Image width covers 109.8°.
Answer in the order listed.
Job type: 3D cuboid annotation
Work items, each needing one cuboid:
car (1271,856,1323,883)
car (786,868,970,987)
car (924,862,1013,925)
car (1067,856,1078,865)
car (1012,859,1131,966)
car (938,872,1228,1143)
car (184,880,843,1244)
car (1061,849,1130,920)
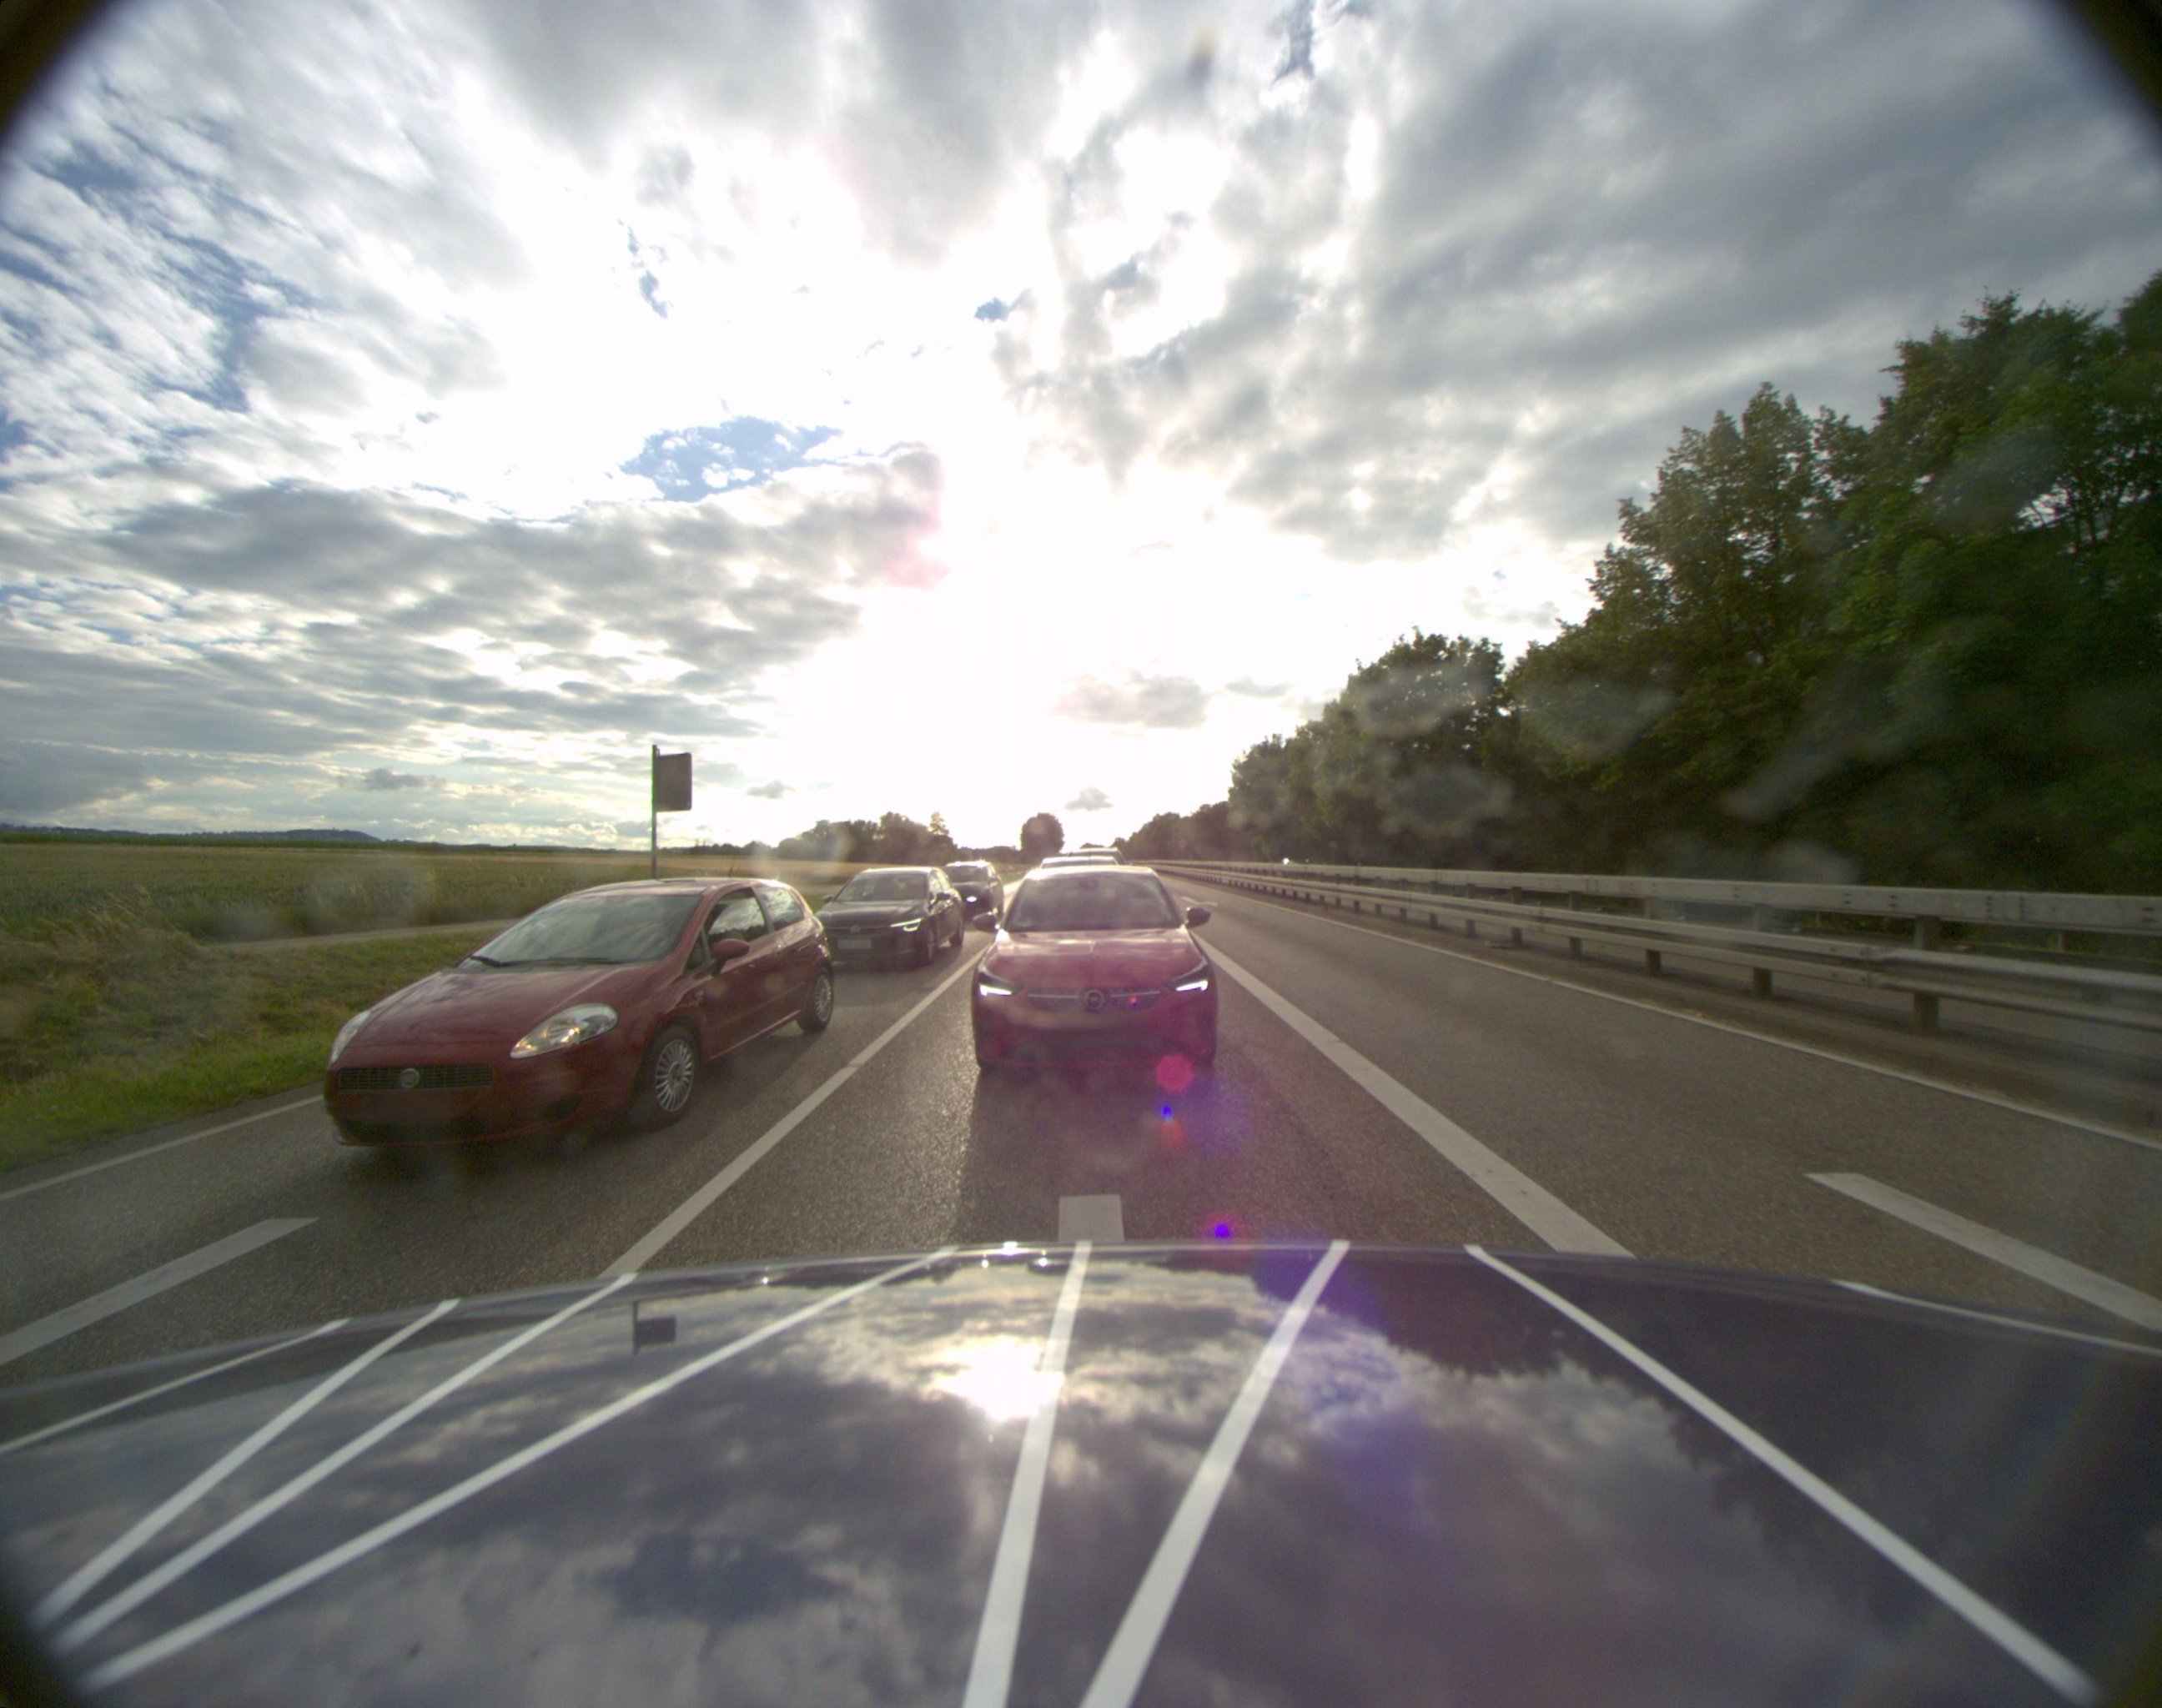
[{"bbox_3d":[13.481,0.953,47.638,1.920,1.448,4.372,-2,1,0],"label":"car"},{"bbox_3d":[-3.052,1.038,12.346,1.799,1.448,4.032,-2,1,1],"label":"car"},{"bbox_3d":[-3.031,1.018,21.281,1.799,1.448,4.032,-2,1,1],"label":"car"},{"bbox_3d":[-1.523,1.146,135.381,1.751,1.550,3.731,-2,1,1],"label":"car"},{"bbox_3d":[-0.108,0.884,13.303,1.712,1.448,4.061,-2,1,1],"label":"car"},{"bbox_3d":[0.043,0.988,6.666,1.712,1.448,4.061,-2,1,1],"label":"car"},{"bbox_3d":[-3.247,1.040,5.484,1.712,1.448,3.908,-2,1,1],"label":"car"},{"bbox_3d":[0.390,0.751,21.302,1.671,1.730,4.032,-2,1,1],"label":"car"}]
